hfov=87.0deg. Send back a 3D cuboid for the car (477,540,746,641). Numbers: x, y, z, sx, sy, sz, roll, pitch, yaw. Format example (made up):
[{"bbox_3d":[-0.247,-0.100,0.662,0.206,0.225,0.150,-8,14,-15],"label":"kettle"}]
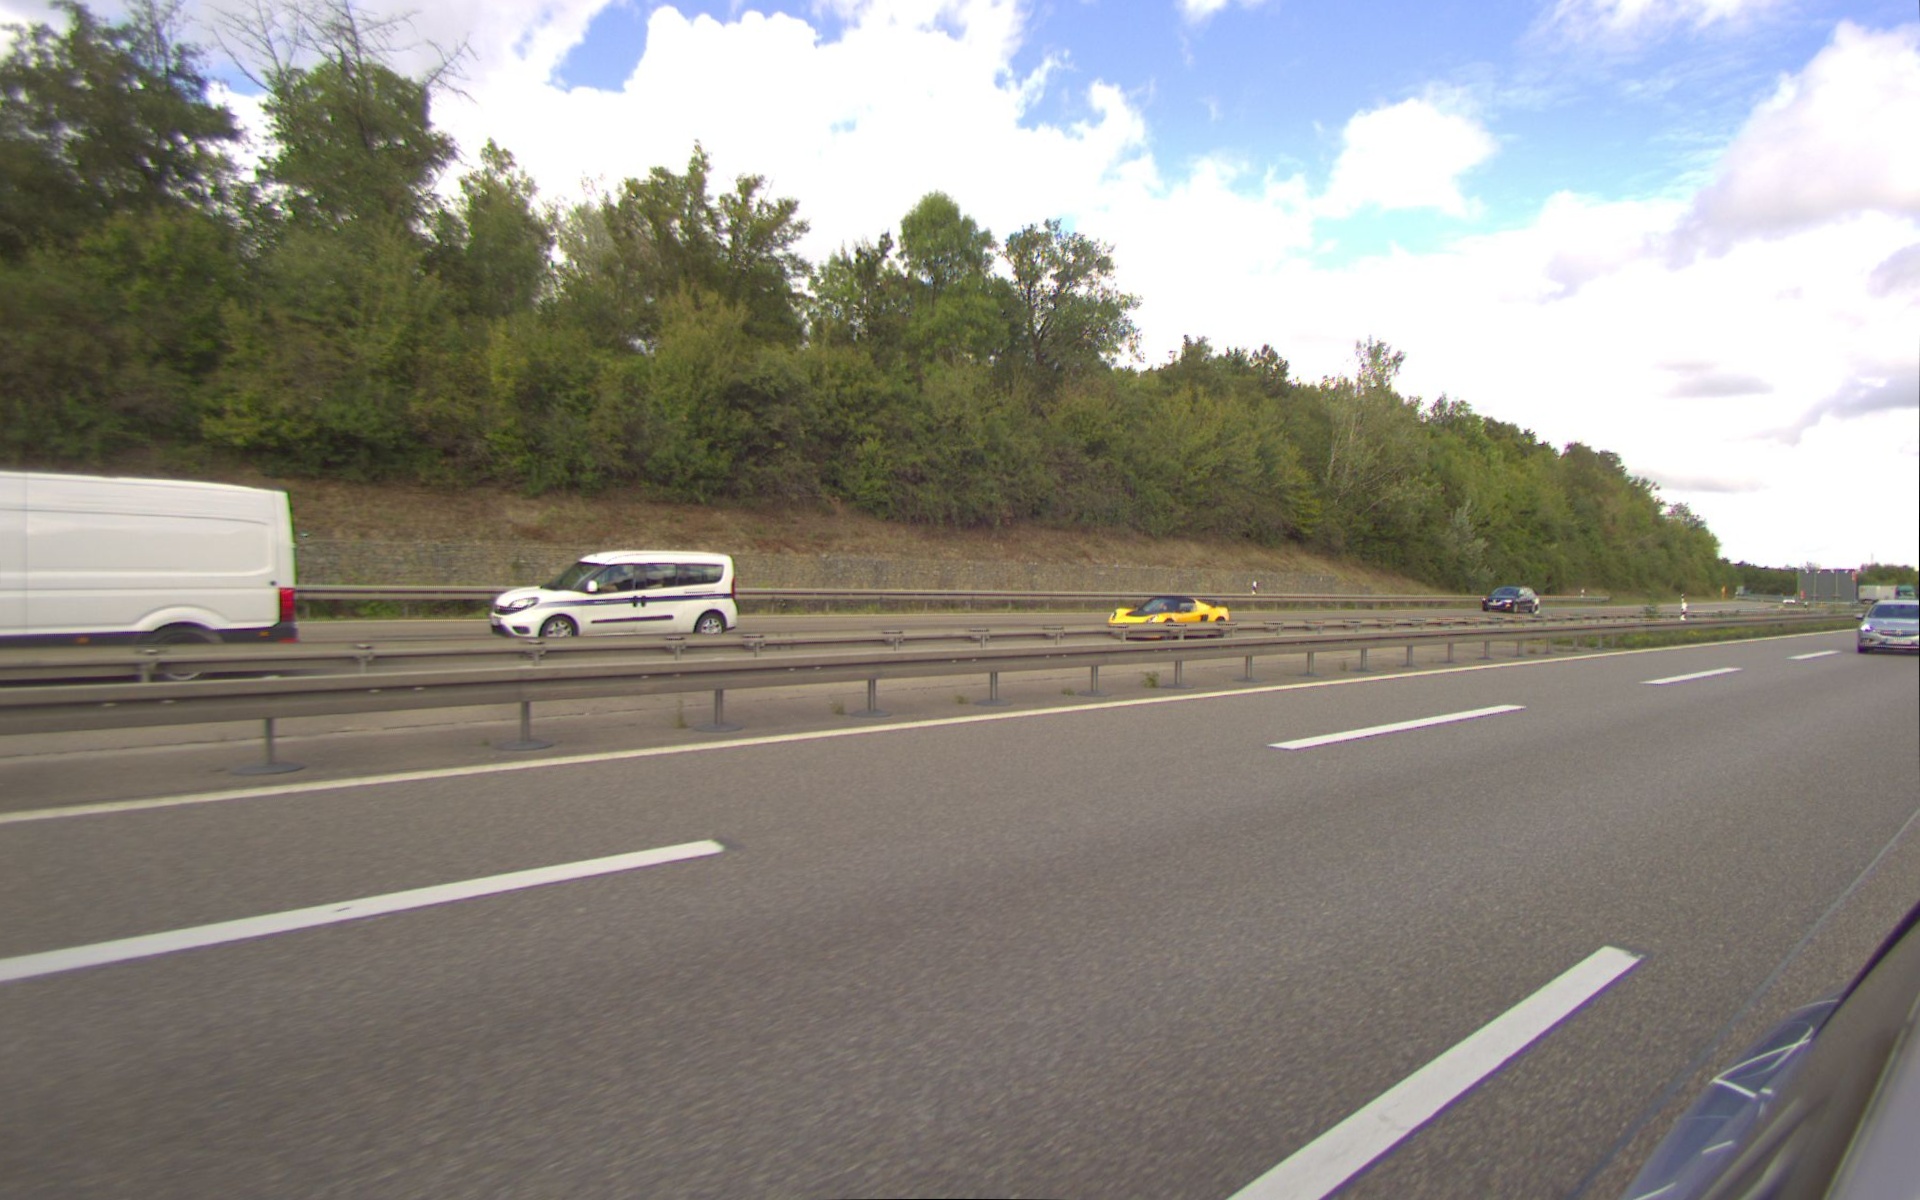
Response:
[{"bbox_3d":[-6.760,-0.185,19.970,4.680,1.774,1.847,0,1,-41],"label":"car"}]

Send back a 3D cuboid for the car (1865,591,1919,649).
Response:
[{"bbox_3d":[26.776,0.518,28.288,4.536,1.503,1.686,0,1,-41],"label":"car"}]

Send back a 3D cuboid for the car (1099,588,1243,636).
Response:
[{"bbox_3d":[5.795,0.287,27.542,4.096,1.196,1.715,0,1,-41],"label":"car"}]

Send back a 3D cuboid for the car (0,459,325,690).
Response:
[{"bbox_3d":[-11.575,-0.324,11.992,6.624,2.586,2.074,0,2,-41],"label":"car"}]

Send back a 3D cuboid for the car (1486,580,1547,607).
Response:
[{"bbox_3d":[31.986,-0.370,58.128,4.095,1.433,1.716,0,2,-40],"label":"car"}]
